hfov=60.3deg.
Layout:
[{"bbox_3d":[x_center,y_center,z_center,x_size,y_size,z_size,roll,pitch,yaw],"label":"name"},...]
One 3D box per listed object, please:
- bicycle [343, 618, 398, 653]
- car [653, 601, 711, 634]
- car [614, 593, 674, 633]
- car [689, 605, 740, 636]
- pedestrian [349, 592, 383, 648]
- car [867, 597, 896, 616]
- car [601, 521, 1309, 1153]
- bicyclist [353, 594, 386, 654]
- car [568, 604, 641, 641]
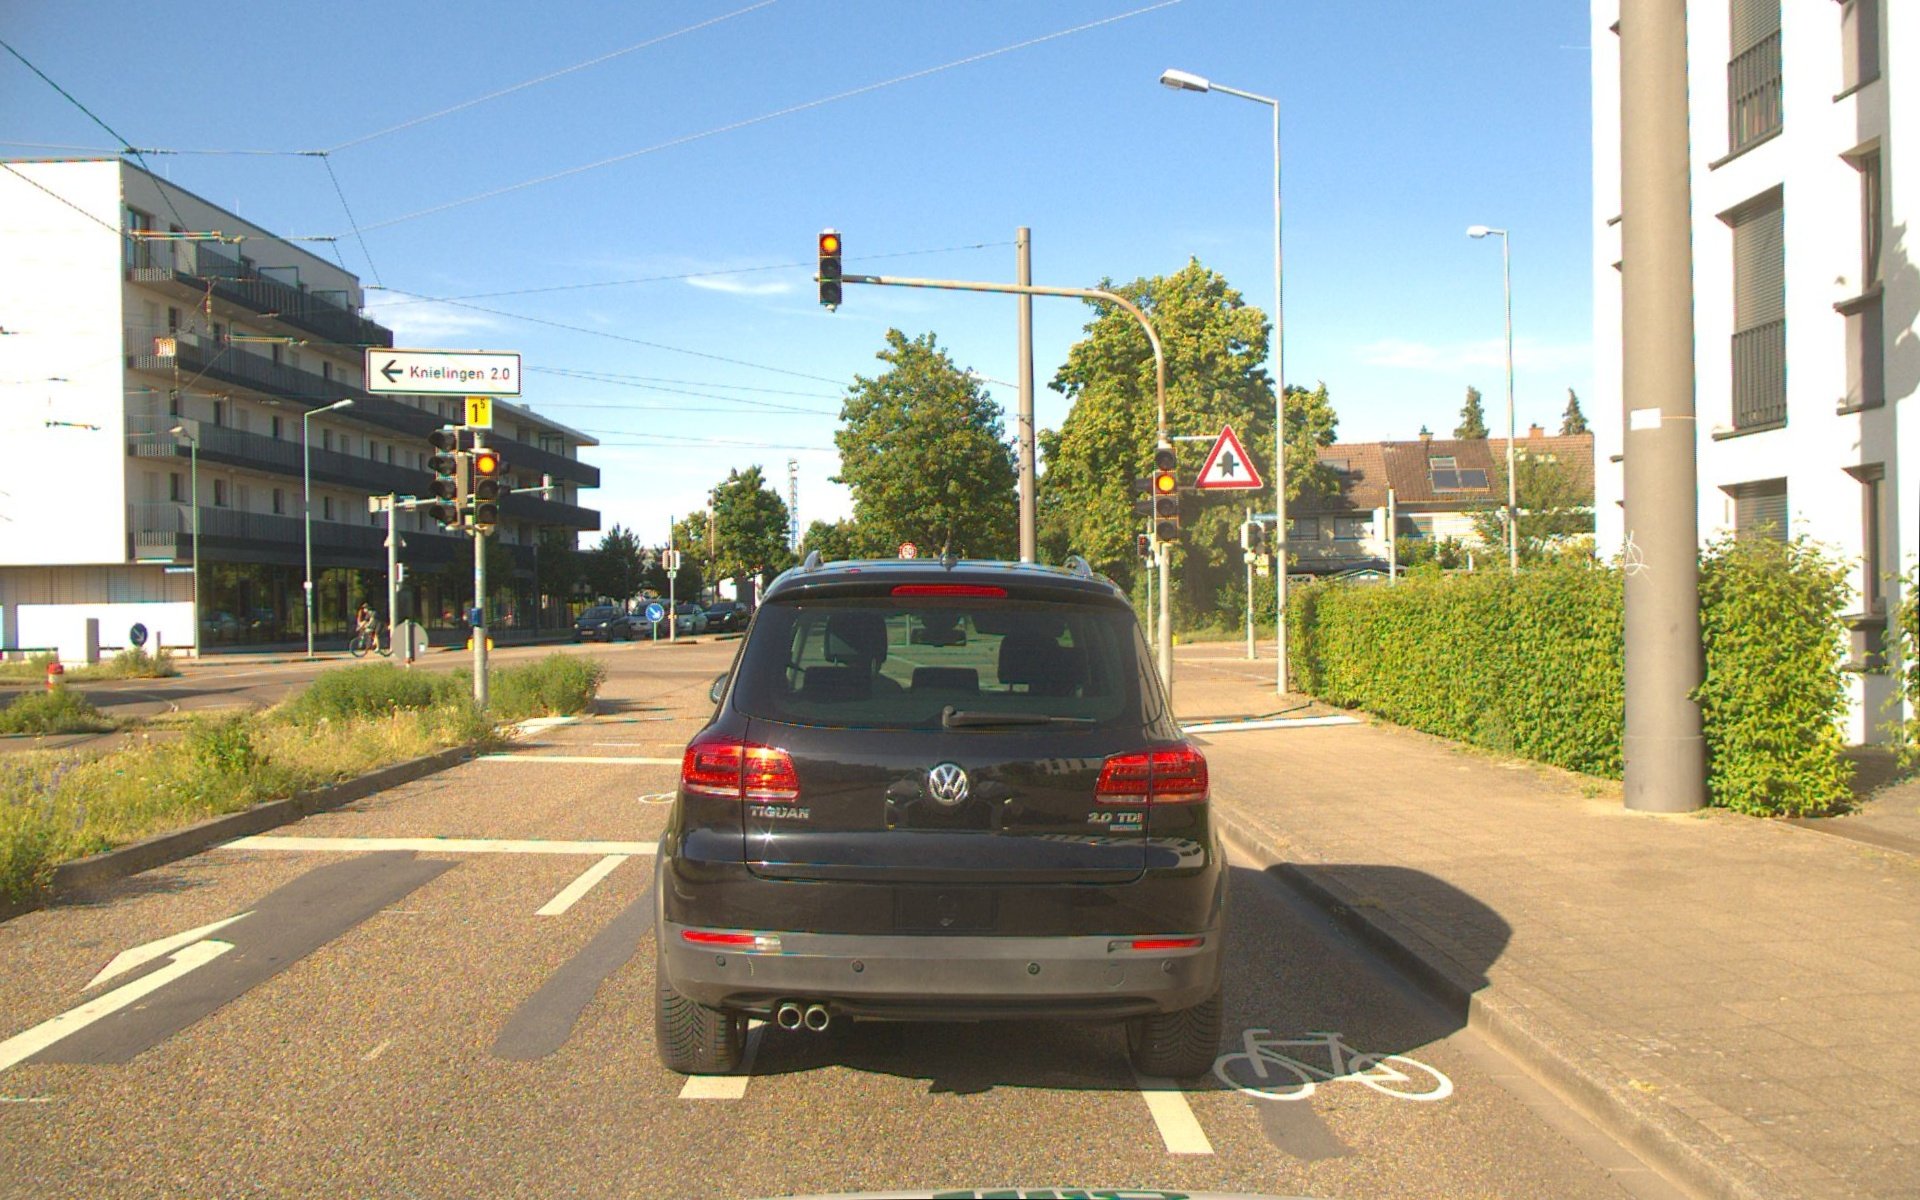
[{"bbox_3d":[-20.436,1.215,57.374,1.628,1.164,0.734,-1,0,-41],"label":"bicycle"},{"bbox_3d":[-13.968,0.870,83.356,1.951,1.513,3.546,-3,0,6],"label":"car"},{"bbox_3d":[-14.884,0.588,78.022,1.953,1.786,4.361,-1,0,0],"label":"car"},{"bbox_3d":[-13.351,1.106,90.109,1.926,1.561,4.741,-1,0,1],"label":"car"},{"bbox_3d":[-21.867,0.729,60.942,0.957,2.049,0.760,-1,0,-3],"label":"pedestrian"},{"bbox_3d":[-7.112,0.566,149.569,1.951,1.599,4.003,-1,0,7],"label":"car"},{"bbox_3d":[-0.084,0.655,6.740,1.890,1.683,4.512,1,0,-2],"label":"car"},{"bbox_3d":[-20.476,0.832,57.350,0.788,2.049,0.799,-1,0,-41],"label":"bicyclist"},{"bbox_3d":[-15.235,0.948,71.083,1.659,1.482,4.456,-1,0,7],"label":"car"}]
